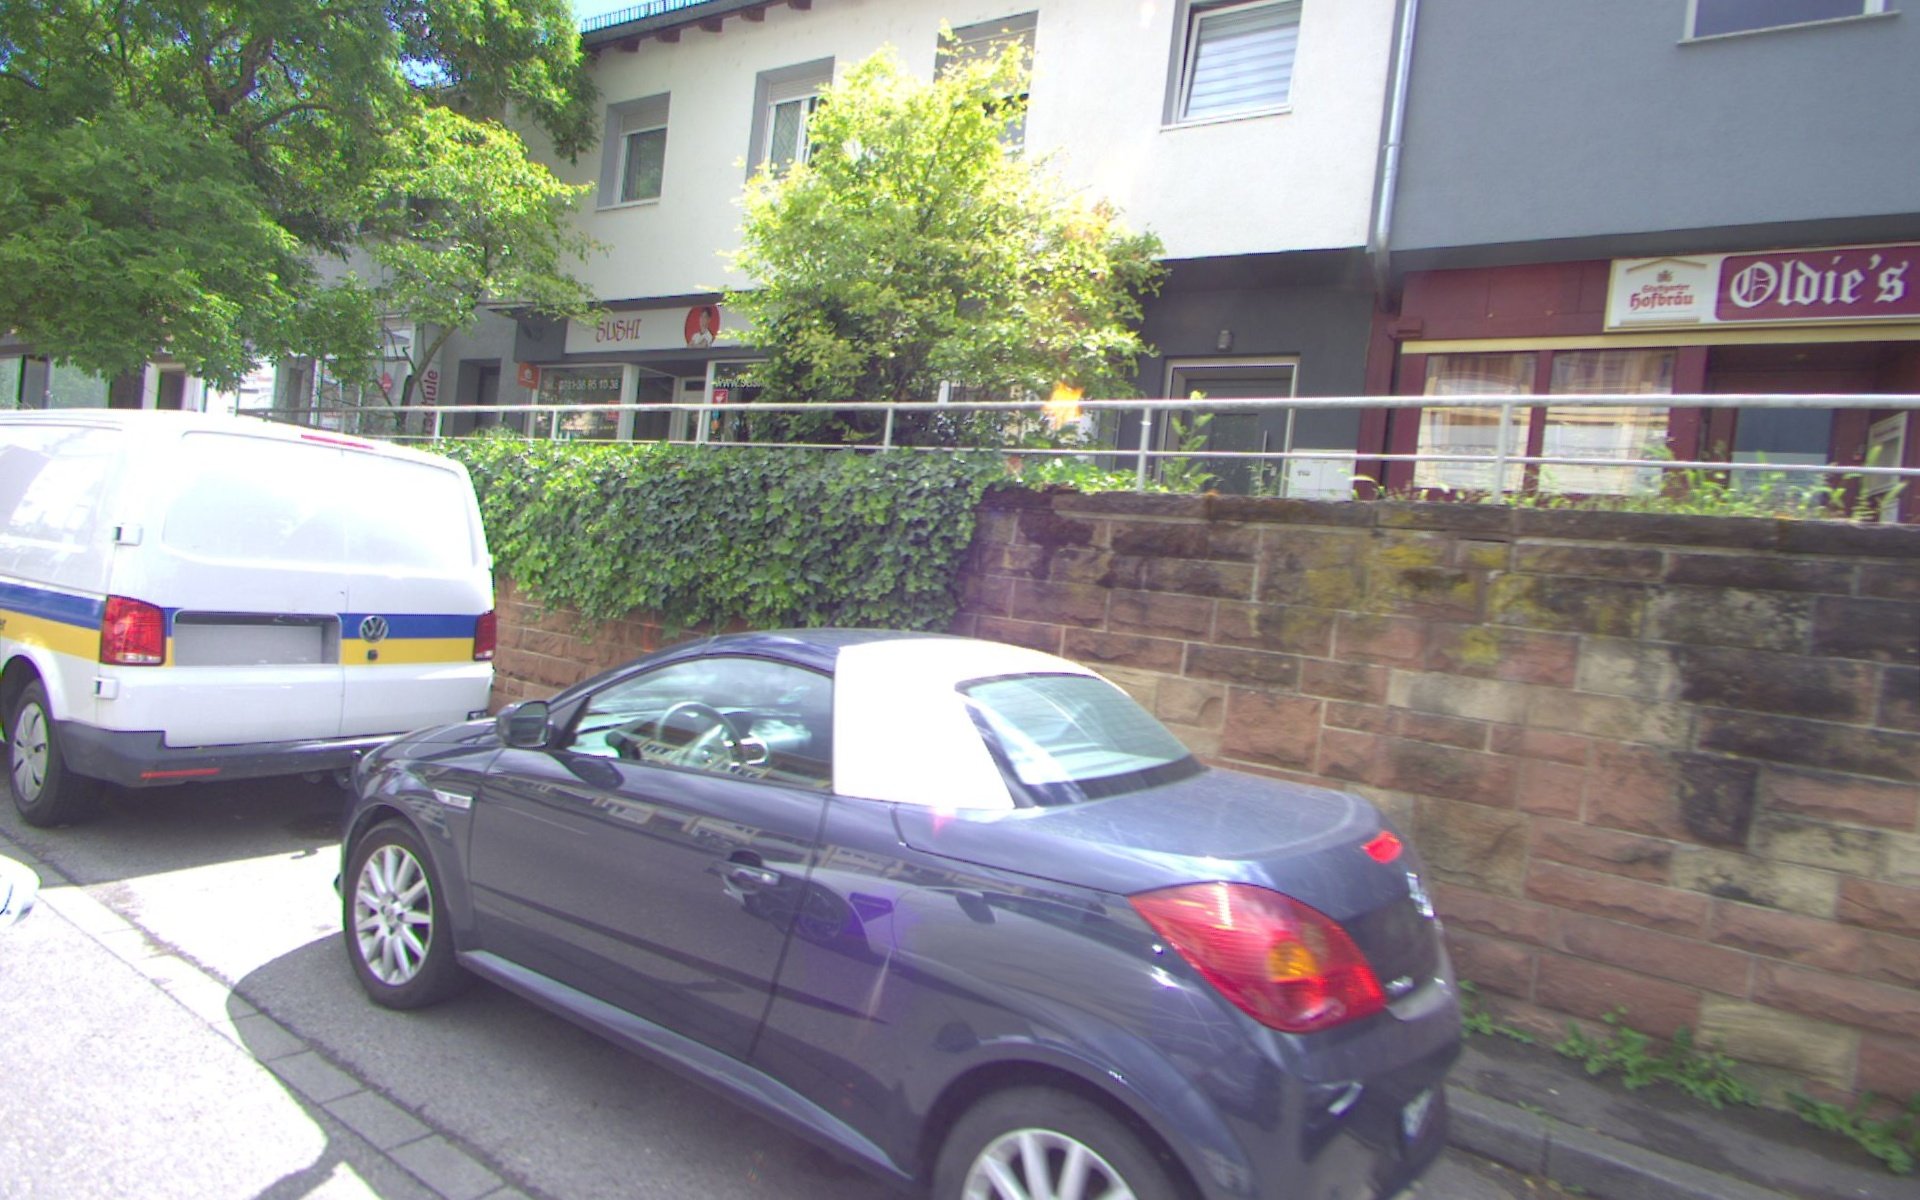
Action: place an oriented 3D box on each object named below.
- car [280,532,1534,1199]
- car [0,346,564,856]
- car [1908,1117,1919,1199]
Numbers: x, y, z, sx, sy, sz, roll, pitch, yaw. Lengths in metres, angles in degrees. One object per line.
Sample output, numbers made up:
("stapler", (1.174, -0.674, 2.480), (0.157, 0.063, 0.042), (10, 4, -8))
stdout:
("car", (-0.388, 0.725, 3.226), (3.674, 1.445, 1.576), (7, 0, 33))
("car", (-4.882, -0.157, 6.095), (4.931, 1.994, 1.975), (7, 0, 33))
("car", (3.693, 1.213, 0.665), (4.075, 1.447, 1.781), (7, 2, 31))
